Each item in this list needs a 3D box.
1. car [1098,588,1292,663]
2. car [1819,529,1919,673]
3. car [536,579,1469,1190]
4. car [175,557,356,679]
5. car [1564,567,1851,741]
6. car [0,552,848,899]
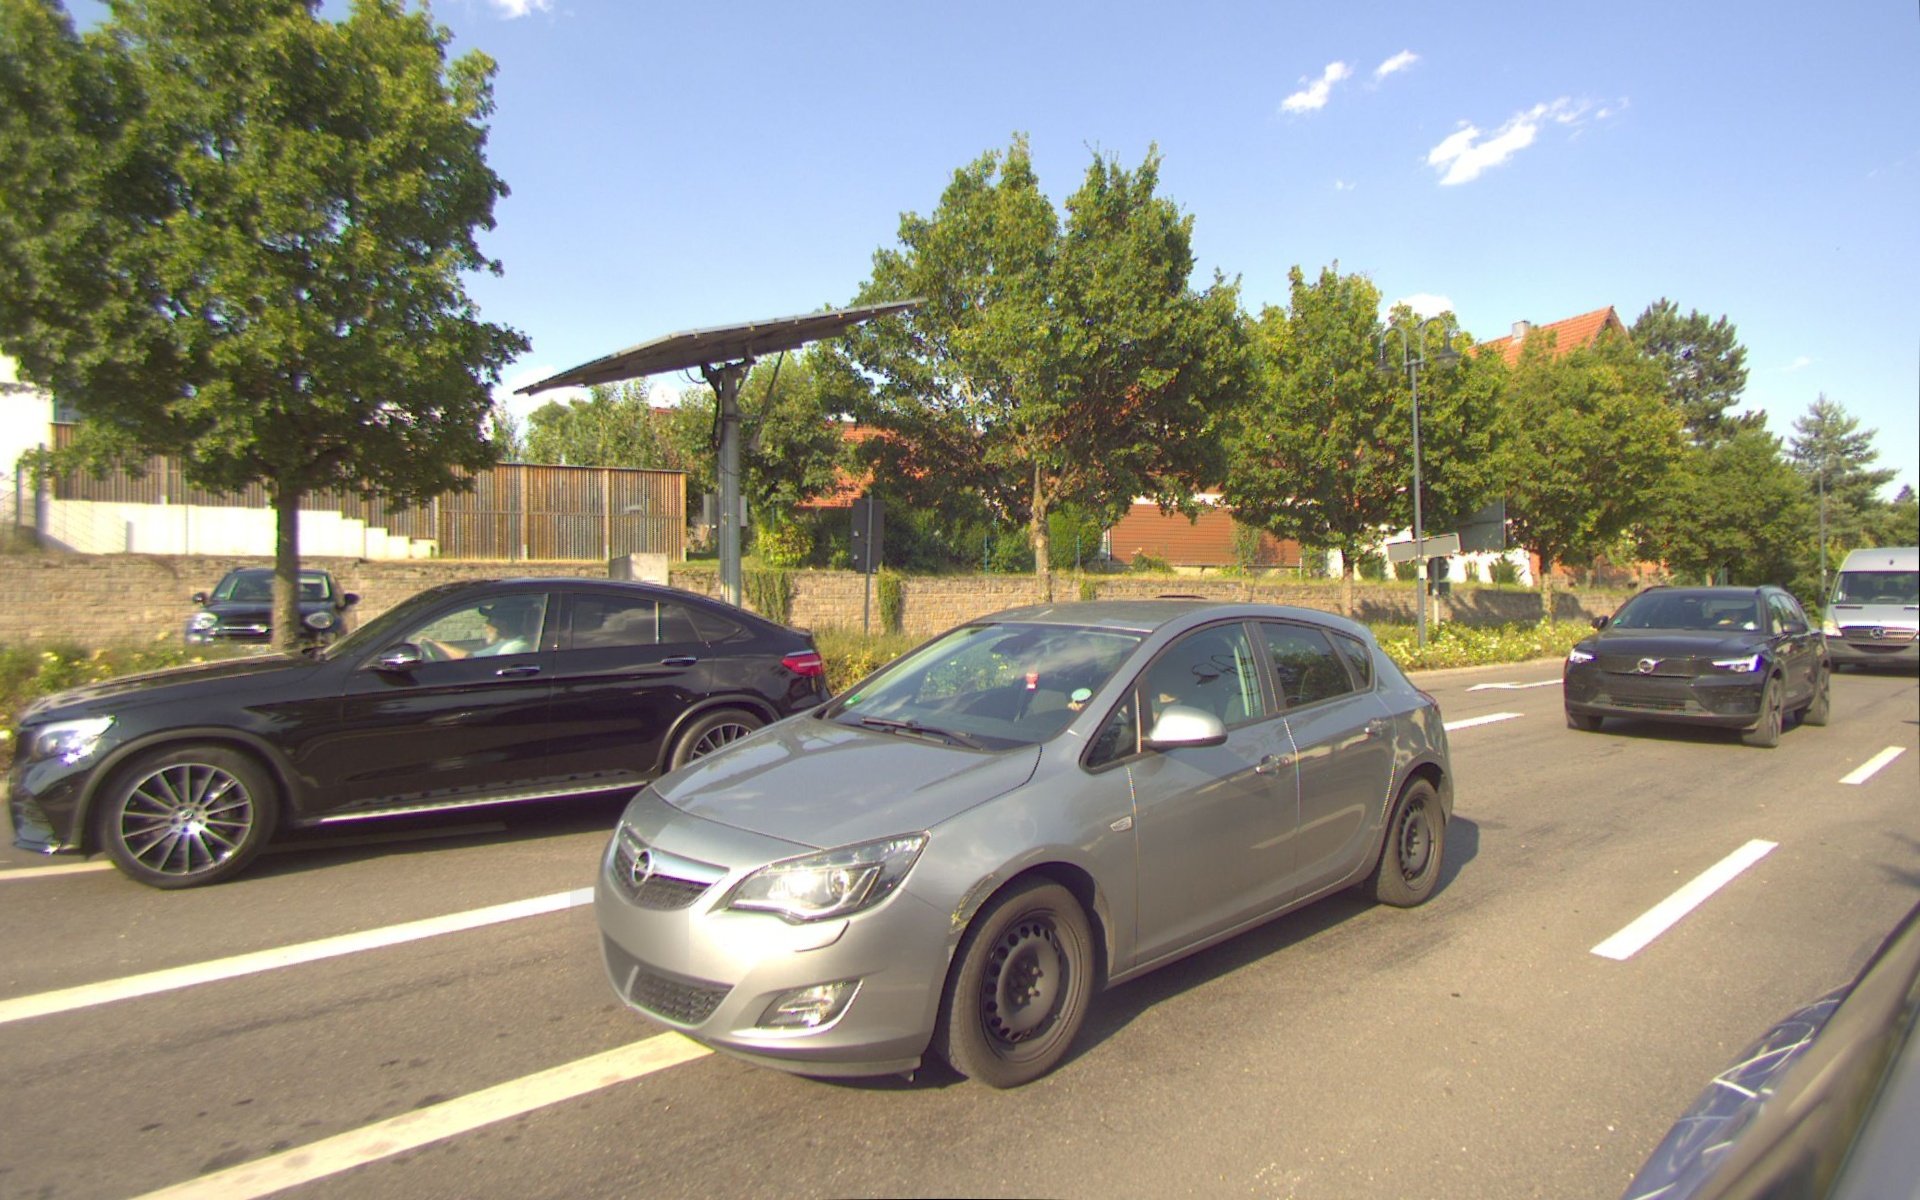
[{"bbox_3d":[4.899,0.488,21.603,1.714,1.449,4.002,0,0,-32],"label":"car"},{"bbox_3d":[20.214,-0.012,21.486,6.533,2.691,2.038,0,0,-41],"label":"car"},{"bbox_3d":[0.529,0.658,4.396,4.073,1.440,1.650,0,1,-42],"label":"car"},{"bbox_3d":[-9.705,0.212,14.425,1.644,1.475,4.085,0,0,-28],"label":"car"},{"bbox_3d":[8.550,0.492,11.457,3.985,1.626,1.791,0,0,-41],"label":"car"},{"bbox_3d":[-3.118,0.551,6.585,4.408,1.586,1.846,0,1,-34],"label":"car"}]
